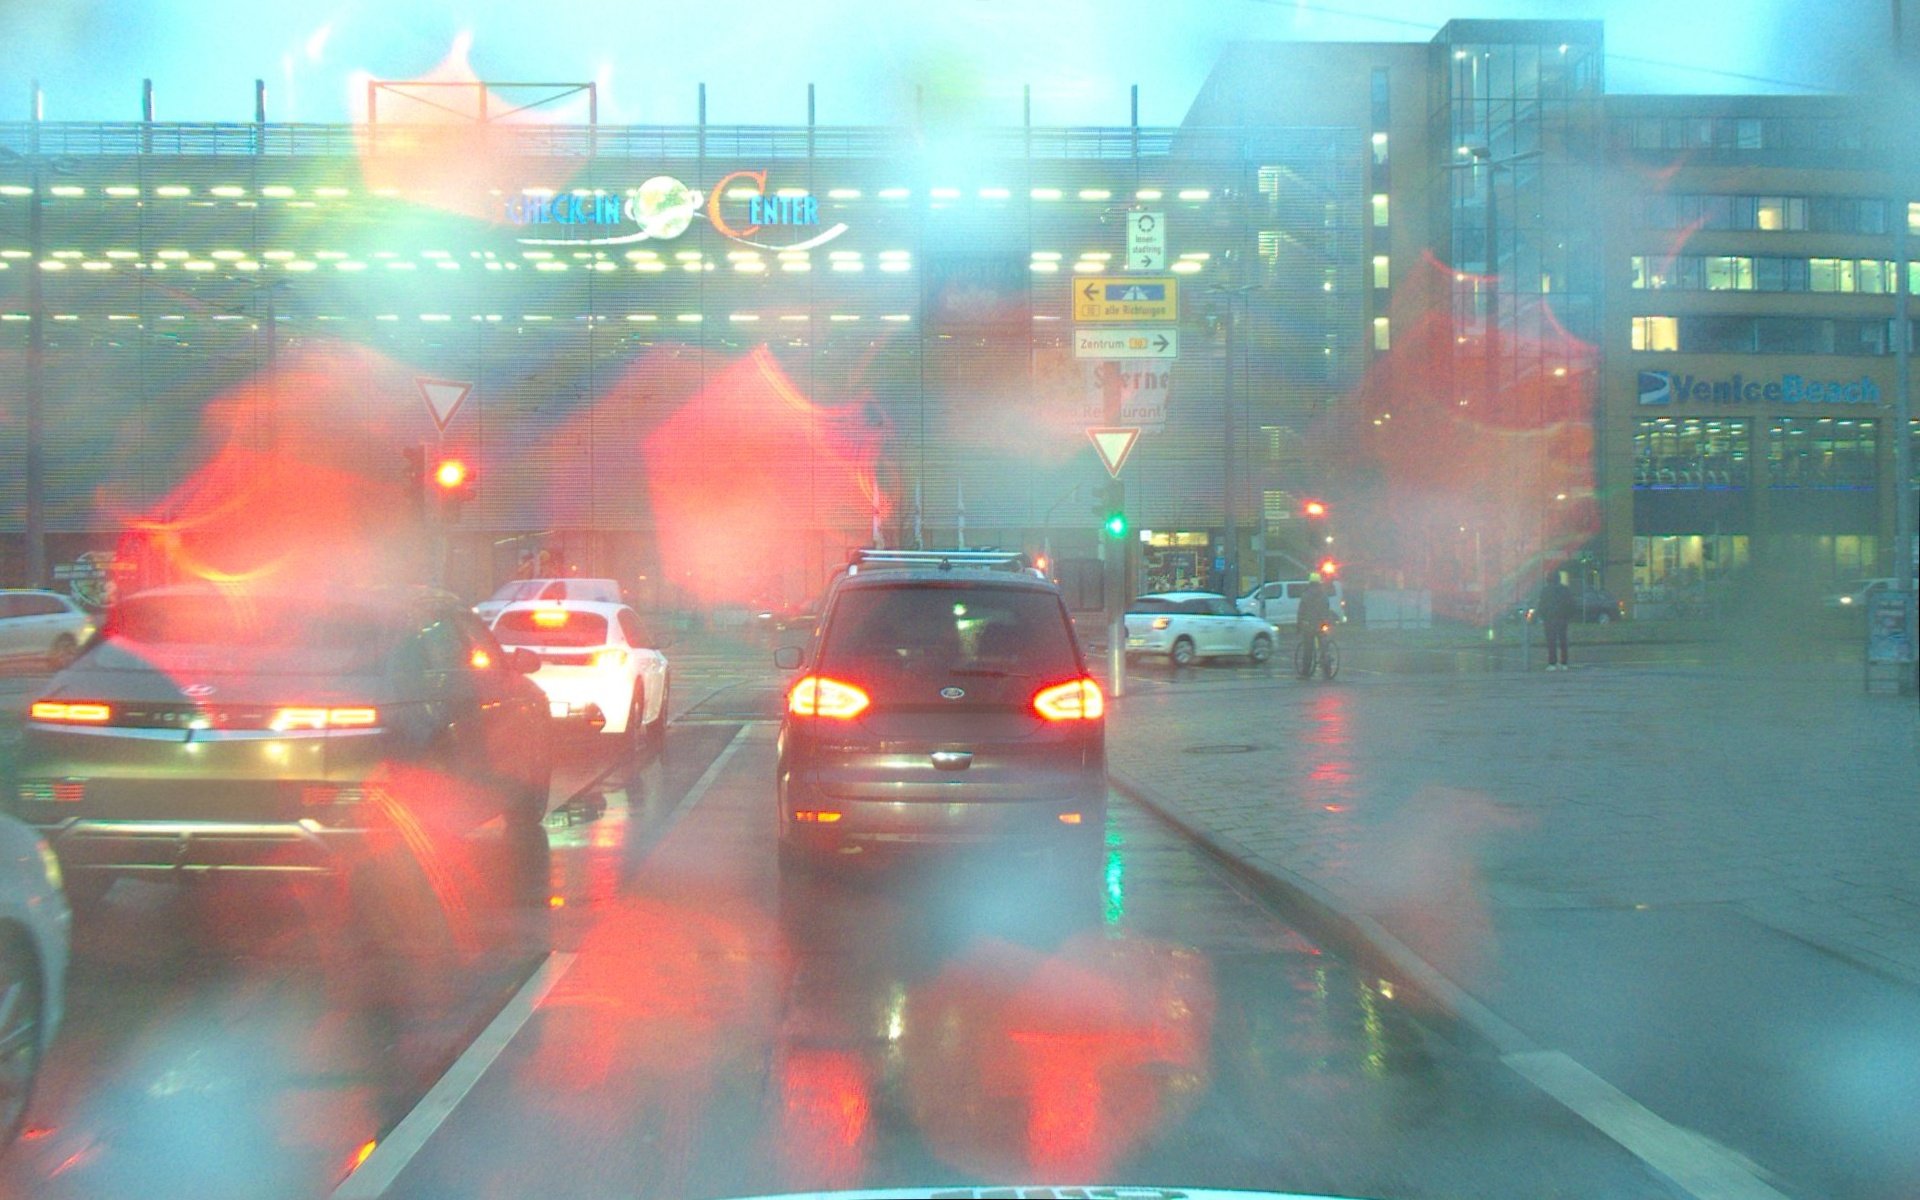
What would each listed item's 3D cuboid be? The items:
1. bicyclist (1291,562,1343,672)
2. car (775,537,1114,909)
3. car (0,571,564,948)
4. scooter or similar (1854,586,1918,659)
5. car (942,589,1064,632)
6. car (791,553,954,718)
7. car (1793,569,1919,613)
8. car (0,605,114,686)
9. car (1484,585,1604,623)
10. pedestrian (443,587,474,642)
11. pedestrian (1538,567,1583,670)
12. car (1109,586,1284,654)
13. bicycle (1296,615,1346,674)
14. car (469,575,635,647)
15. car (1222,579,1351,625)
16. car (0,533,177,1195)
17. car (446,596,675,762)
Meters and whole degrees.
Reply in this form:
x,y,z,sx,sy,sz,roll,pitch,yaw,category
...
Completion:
x,y,z,sx,sy,sz,roll,pitch,yaw,category
6.348,0.296,29.442,0.774,1.923,0.990,-1,0,6,bicyclist
-0.089,0.610,10.209,1.640,1.811,3.999,1,0,0,car
-3.452,0.677,9.326,1.785,1.597,4.356,-1,0,-6,car
15.919,0.383,28.434,1.290,1.227,0.331,0,0,-29,scooter or similar
1.622,0.381,61.757,4.289,1.512,1.844,-1,0,-34,car
-1.117,0.384,20.718,1.807,1.837,4.483,0,0,-4,car
36.906,-0.352,67.922,4.505,1.749,1.928,0,0,-5,car
-17.502,0.815,29.557,1.605,1.410,4.479,-1,0,16,car
23.297,0.156,66.022,4.333,1.470,1.624,-1,0,-13,car
-22.961,0.654,75.741,1.087,2.482,0.966,1,-1,-1,pedestrian
11.272,0.345,31.046,0.757,1.910,0.635,-1,0,23,pedestrian
5.095,0.396,35.448,3.693,1.385,1.623,-1,0,-37,car
6.424,0.785,29.499,0.641,0.990,1.868,-1,0,6,bicycle
-11.487,0.287,46.897,1.861,1.904,4.959,-1,0,25,car
12.562,0.070,63.803,4.548,1.707,1.784,-1,0,-7,car
-3.139,0.640,2.845,1.637,1.627,4.221,1,0,-1,car
-3.947,0.711,16.936,1.724,1.489,3.913,0,0,-5,car
